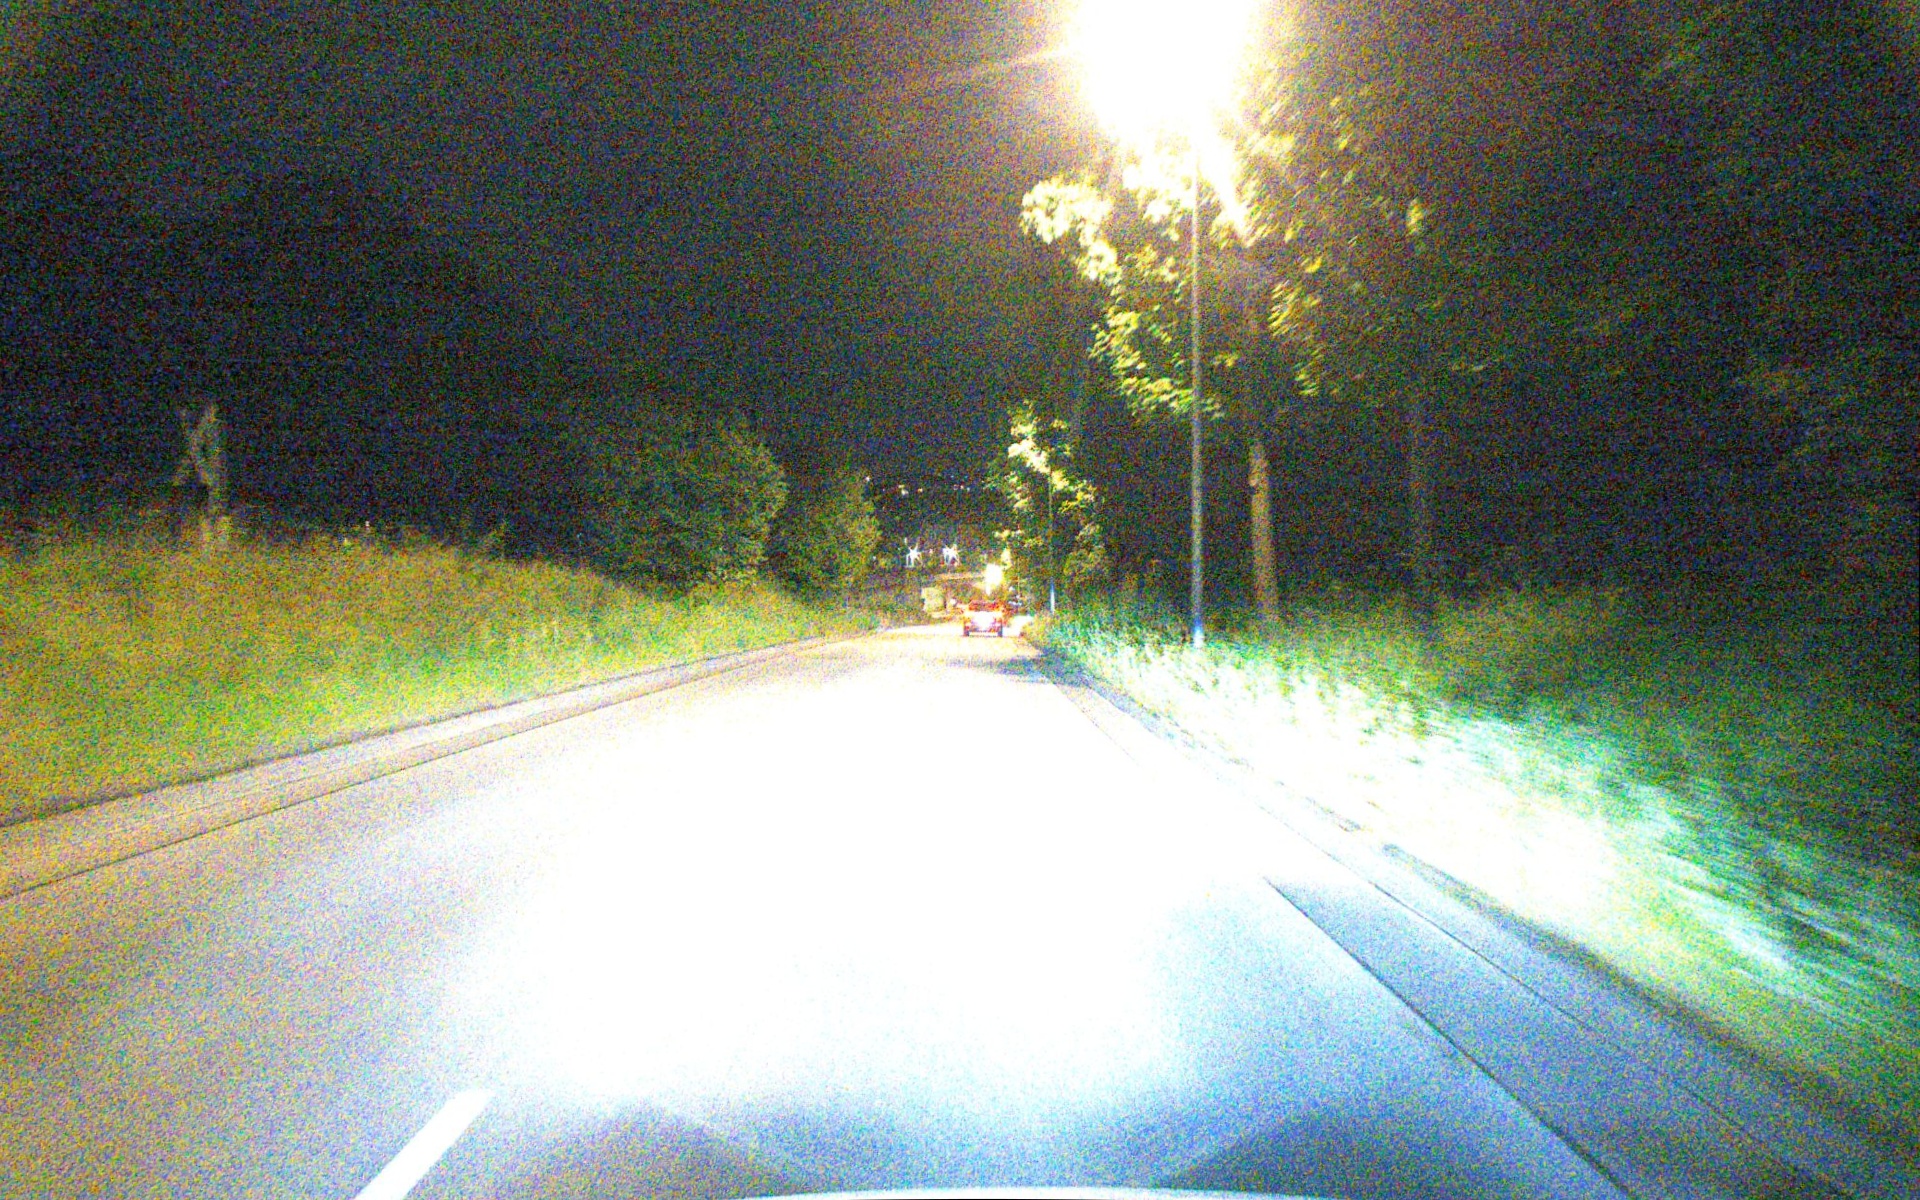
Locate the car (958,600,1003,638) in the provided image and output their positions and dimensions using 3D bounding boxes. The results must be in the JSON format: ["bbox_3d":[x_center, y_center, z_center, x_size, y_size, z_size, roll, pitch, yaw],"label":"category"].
[{"bbox_3d":[0.914,0.841,74.454,1.728,1.670,3.720,0,0,-4],"label":"car"}]
